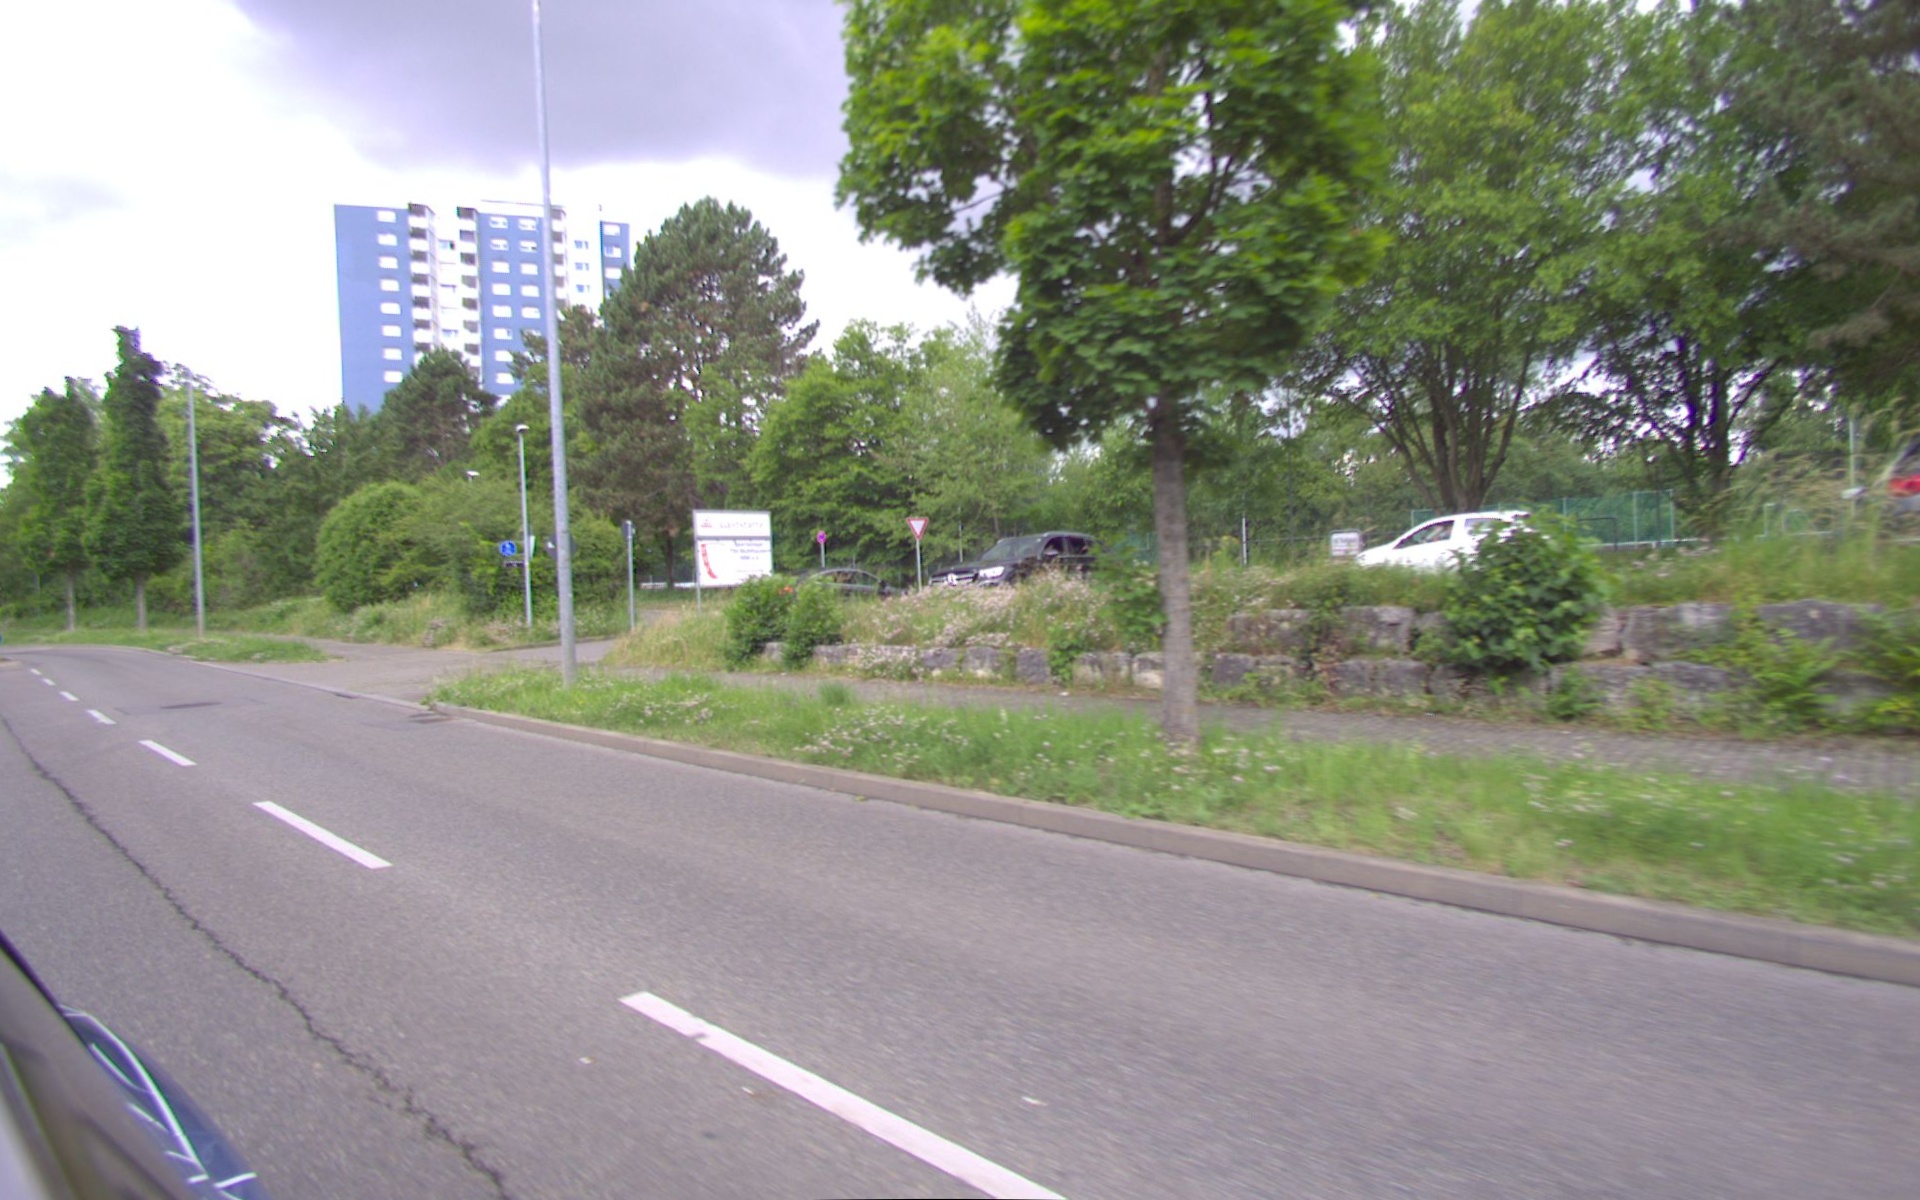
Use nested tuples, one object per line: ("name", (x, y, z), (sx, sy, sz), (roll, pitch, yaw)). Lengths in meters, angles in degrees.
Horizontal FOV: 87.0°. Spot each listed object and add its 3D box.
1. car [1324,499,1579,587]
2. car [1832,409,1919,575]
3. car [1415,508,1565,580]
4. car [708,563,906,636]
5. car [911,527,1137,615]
("car", (9.486, -1.049, 19.718), (4.049, 1.428, 1.971), (-1, 1, 45))
("car", (10.089, -1.037, 9.943), (2.001, 1.428, 3.988), (-1, 1, 45))
("car", (12.151, -1.254, 23.105), (1.902, 1.428, 4.054), (-1, 1, 45))
("car", (-3.364, -0.043, 22.660), (2.001, 1.428, 3.942), (-1, 1, 45))
("car", (1.262, -0.545, 18.637), (2.001, 1.428, 3.989), (-1, 1, 45))
